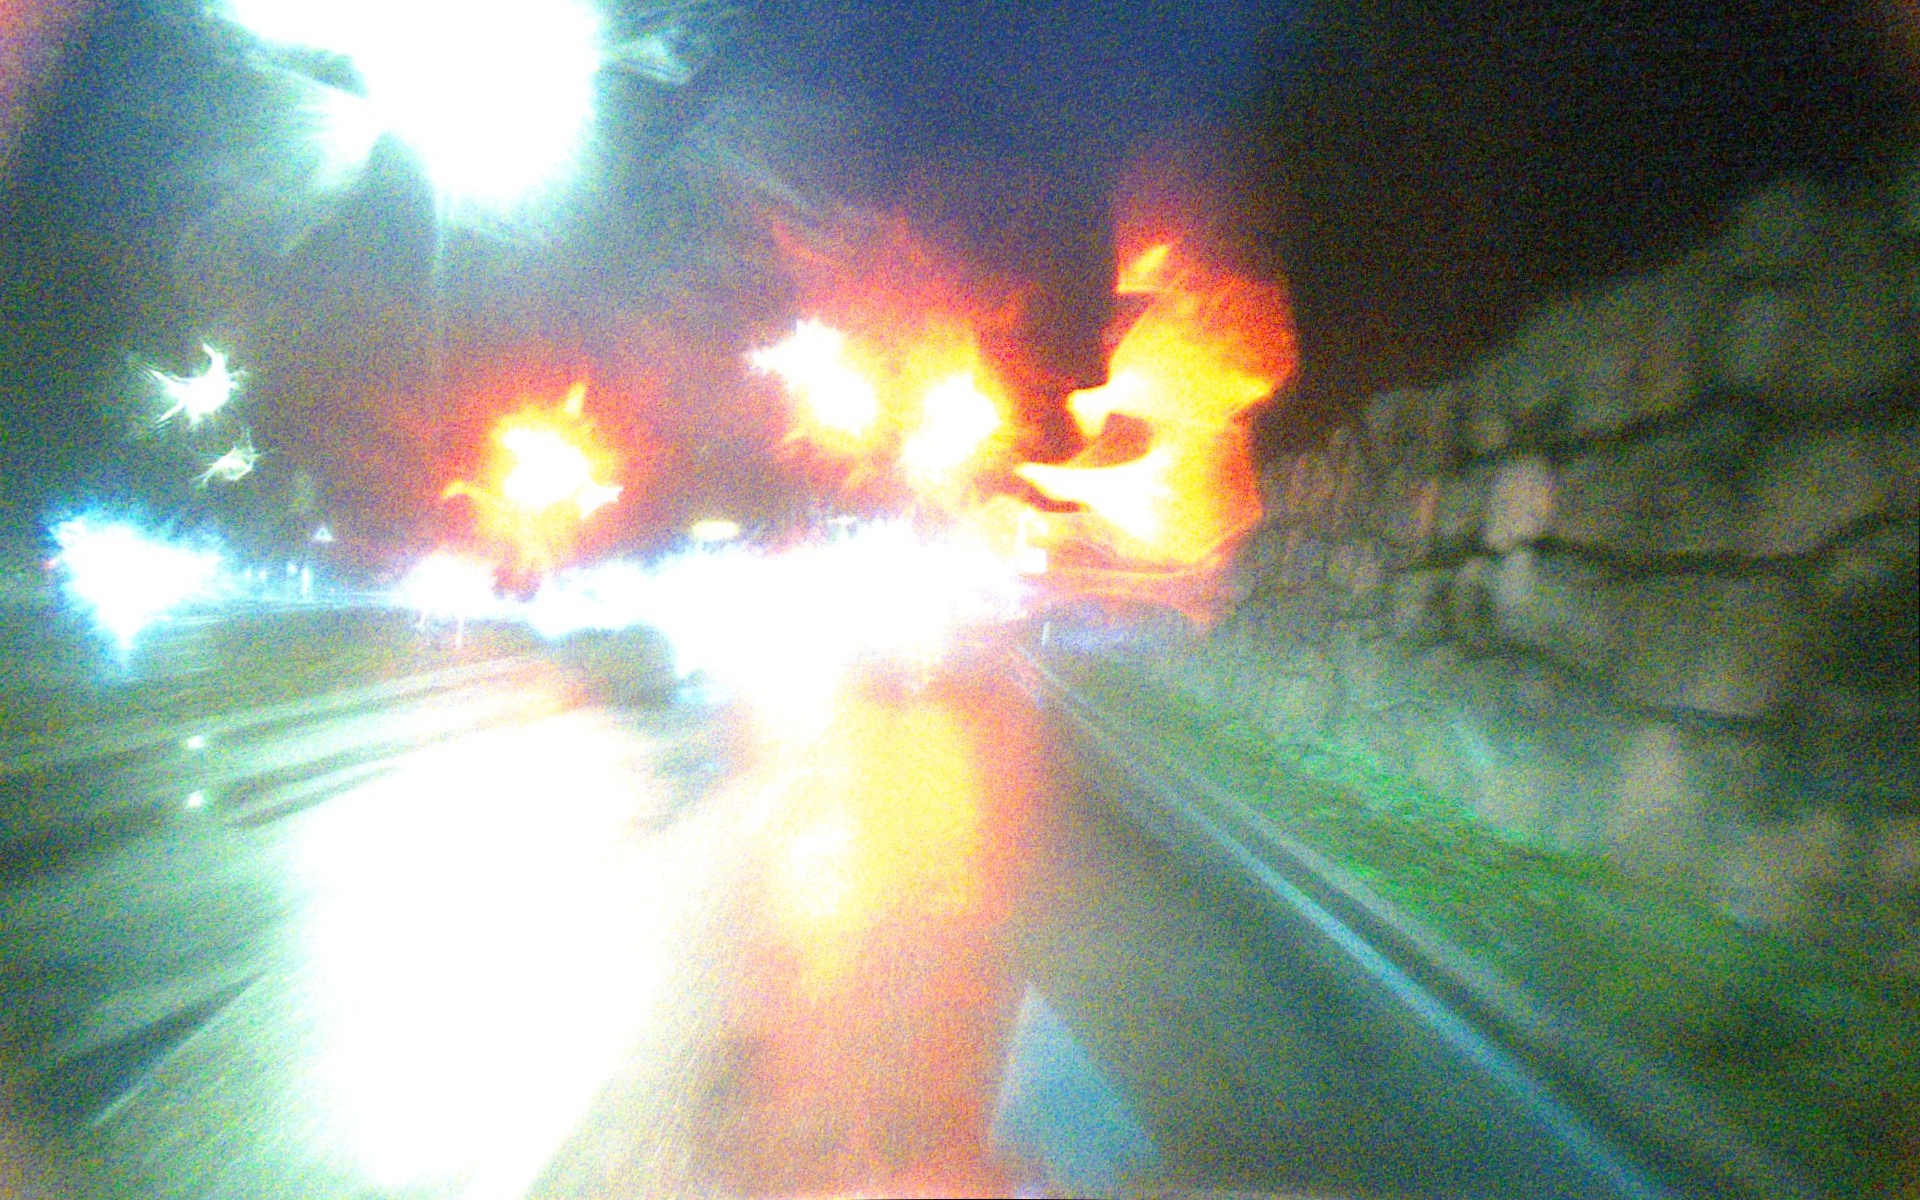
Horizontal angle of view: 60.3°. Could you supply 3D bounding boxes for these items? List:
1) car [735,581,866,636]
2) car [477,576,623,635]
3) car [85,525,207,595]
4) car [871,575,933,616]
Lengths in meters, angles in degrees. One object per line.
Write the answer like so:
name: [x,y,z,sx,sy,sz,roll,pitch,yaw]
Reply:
car: [-5.161,0.258,53.902,1.965,1.691,3.975,1,0,42]
car: [-12.073,0.154,48.917,3.910,1.691,1.998,0,0,-6]
car: [-25.115,-1.202,50.974,3.926,2.049,1.989,1,0,40]
car: [-2.141,-0.171,61.883,1.921,1.453,3.934,0,0,4]
